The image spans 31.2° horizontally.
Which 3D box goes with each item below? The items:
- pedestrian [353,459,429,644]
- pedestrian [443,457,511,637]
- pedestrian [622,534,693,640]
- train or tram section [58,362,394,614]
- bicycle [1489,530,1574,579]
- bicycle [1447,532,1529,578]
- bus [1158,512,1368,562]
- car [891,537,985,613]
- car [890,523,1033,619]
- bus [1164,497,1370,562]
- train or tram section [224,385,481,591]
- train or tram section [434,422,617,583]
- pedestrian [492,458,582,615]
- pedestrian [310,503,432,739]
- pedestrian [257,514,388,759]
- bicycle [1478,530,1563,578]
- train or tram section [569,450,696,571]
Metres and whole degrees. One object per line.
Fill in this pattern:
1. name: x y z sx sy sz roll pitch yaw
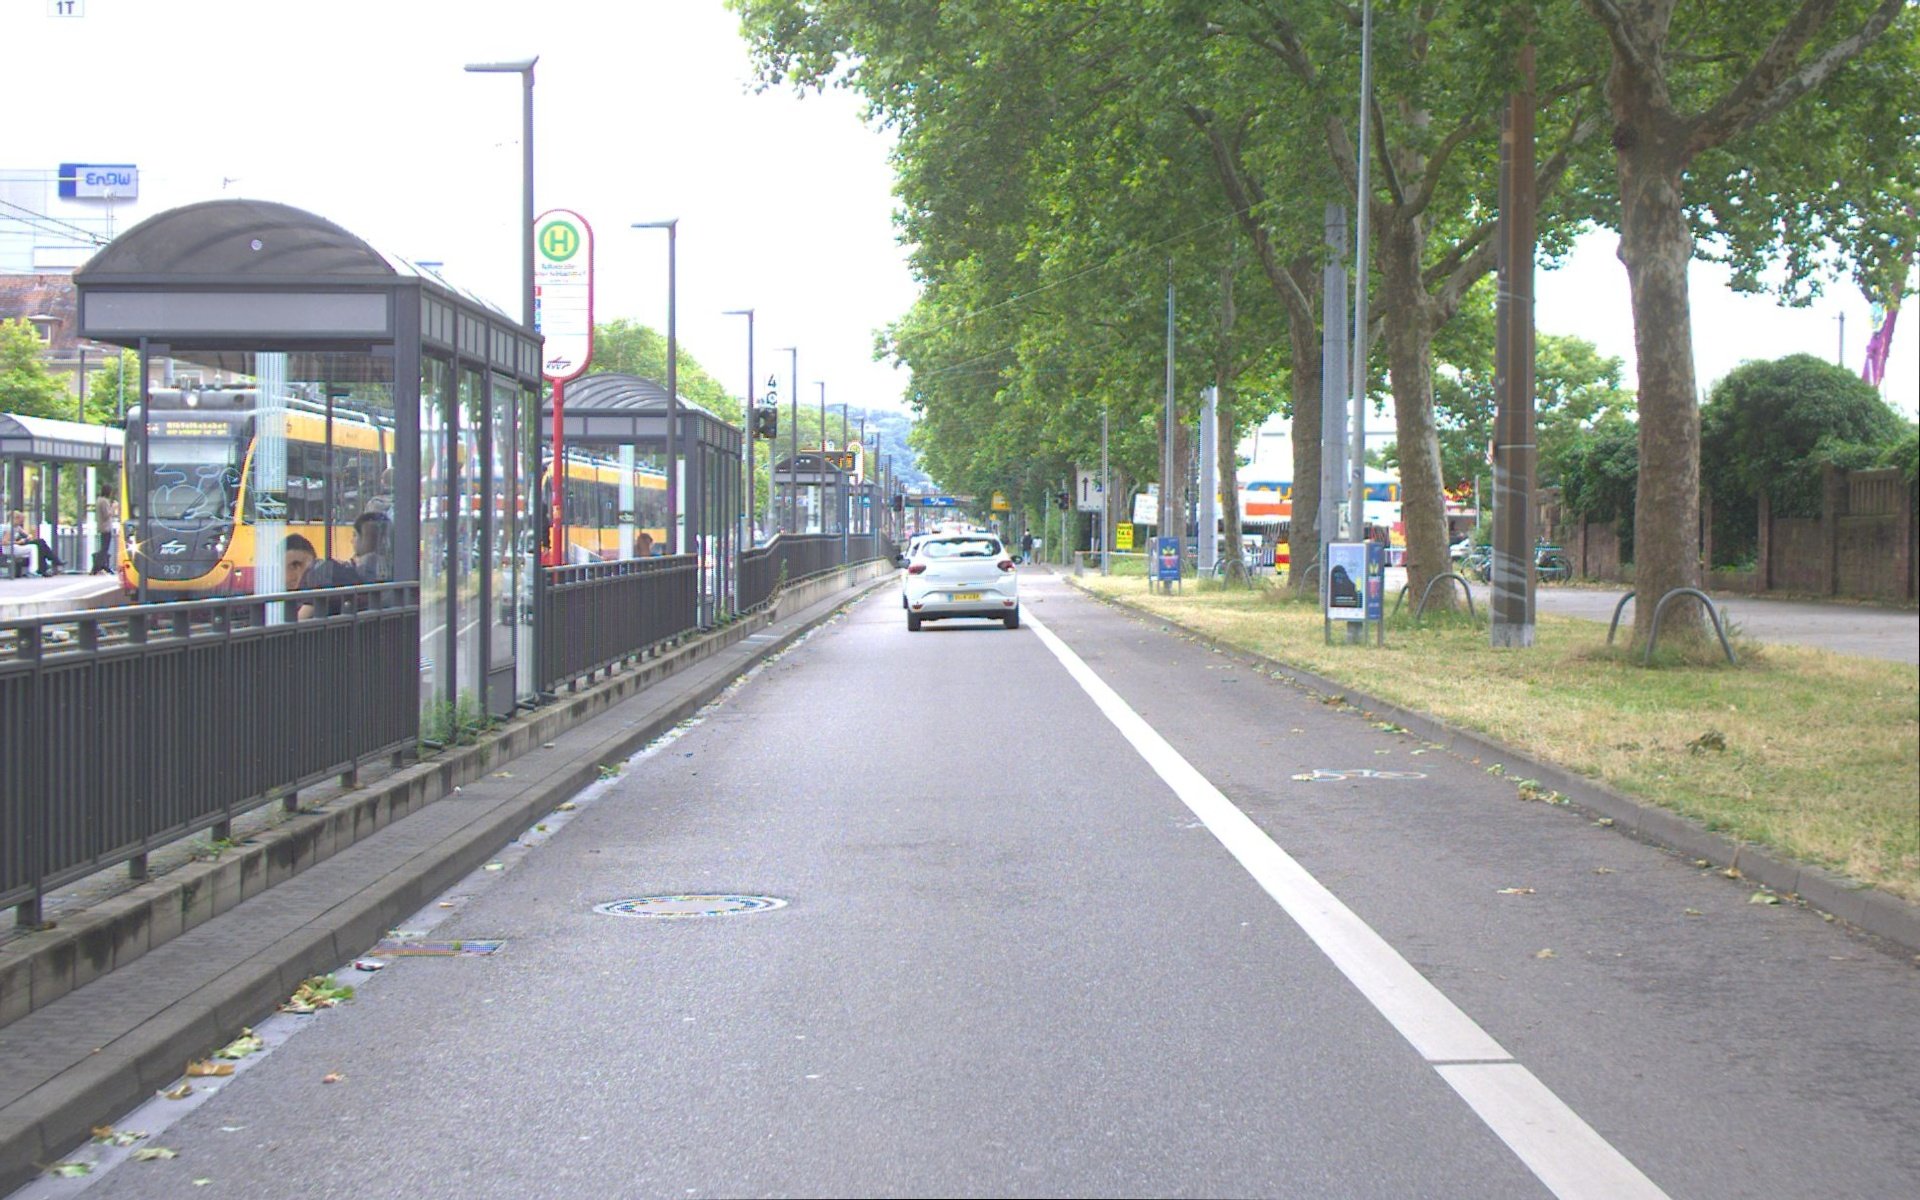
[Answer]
1. pedestrian: -5.617 -0.474 33.921 0.670 1.787 1.113 0 0 -13
2. pedestrian: -4.899 -0.533 34.809 0.670 1.787 1.113 0 0 -9
3. pedestrian: -3.742 -0.164 42.578 0.835 1.299 0.613 0 0 -1
4. train or tram section: -12.191 -1.782 58.386 3.237 3.848 11.312 0 1 0
5. bicycle: 13.438 -1.072 80.864 1.890 1.101 0.550 -1 1 -1
6. bicycle: 13.209 -1.122 86.021 1.921 1.087 0.550 -1 1 -1
7. bus: 13.663 -2.832 155.303 9.276 2.220 2.000 0 1 -2
8. car: -0.441 -0.544 72.159 1.841 1.546 4.000 0 1 1
9. car: 0.063 -0.467 54.425 1.886 1.448 3.999 0 1 6
10. bus: 14.107 -3.225 158.400 9.276 2.949 2.000 0 0 -2
11. train or tram section: -12.113 -2.152 69.782 3.163 3.848 11.312 0 1 0
12. train or tram section: -11.999 -2.607 96.490 3.180 4.164 14.734 0 1 0
13. pedestrian: -5.477 -0.822 44.604 1.058 2.007 0.840 0 0 0
14. pedestrian: -3.475 0.119 20.309 0.610 1.368 0.600 0 0 0
15. pedestrian: -3.522 0.195 19.024 0.610 1.336 0.600 0 0 0
16. bicycle: 13.270 -1.089 81.440 1.900 1.093 0.550 -1 1 -1
17. train or tram section: -11.865 -3.163 125.975 3.180 4.164 14.734 0 1 0
